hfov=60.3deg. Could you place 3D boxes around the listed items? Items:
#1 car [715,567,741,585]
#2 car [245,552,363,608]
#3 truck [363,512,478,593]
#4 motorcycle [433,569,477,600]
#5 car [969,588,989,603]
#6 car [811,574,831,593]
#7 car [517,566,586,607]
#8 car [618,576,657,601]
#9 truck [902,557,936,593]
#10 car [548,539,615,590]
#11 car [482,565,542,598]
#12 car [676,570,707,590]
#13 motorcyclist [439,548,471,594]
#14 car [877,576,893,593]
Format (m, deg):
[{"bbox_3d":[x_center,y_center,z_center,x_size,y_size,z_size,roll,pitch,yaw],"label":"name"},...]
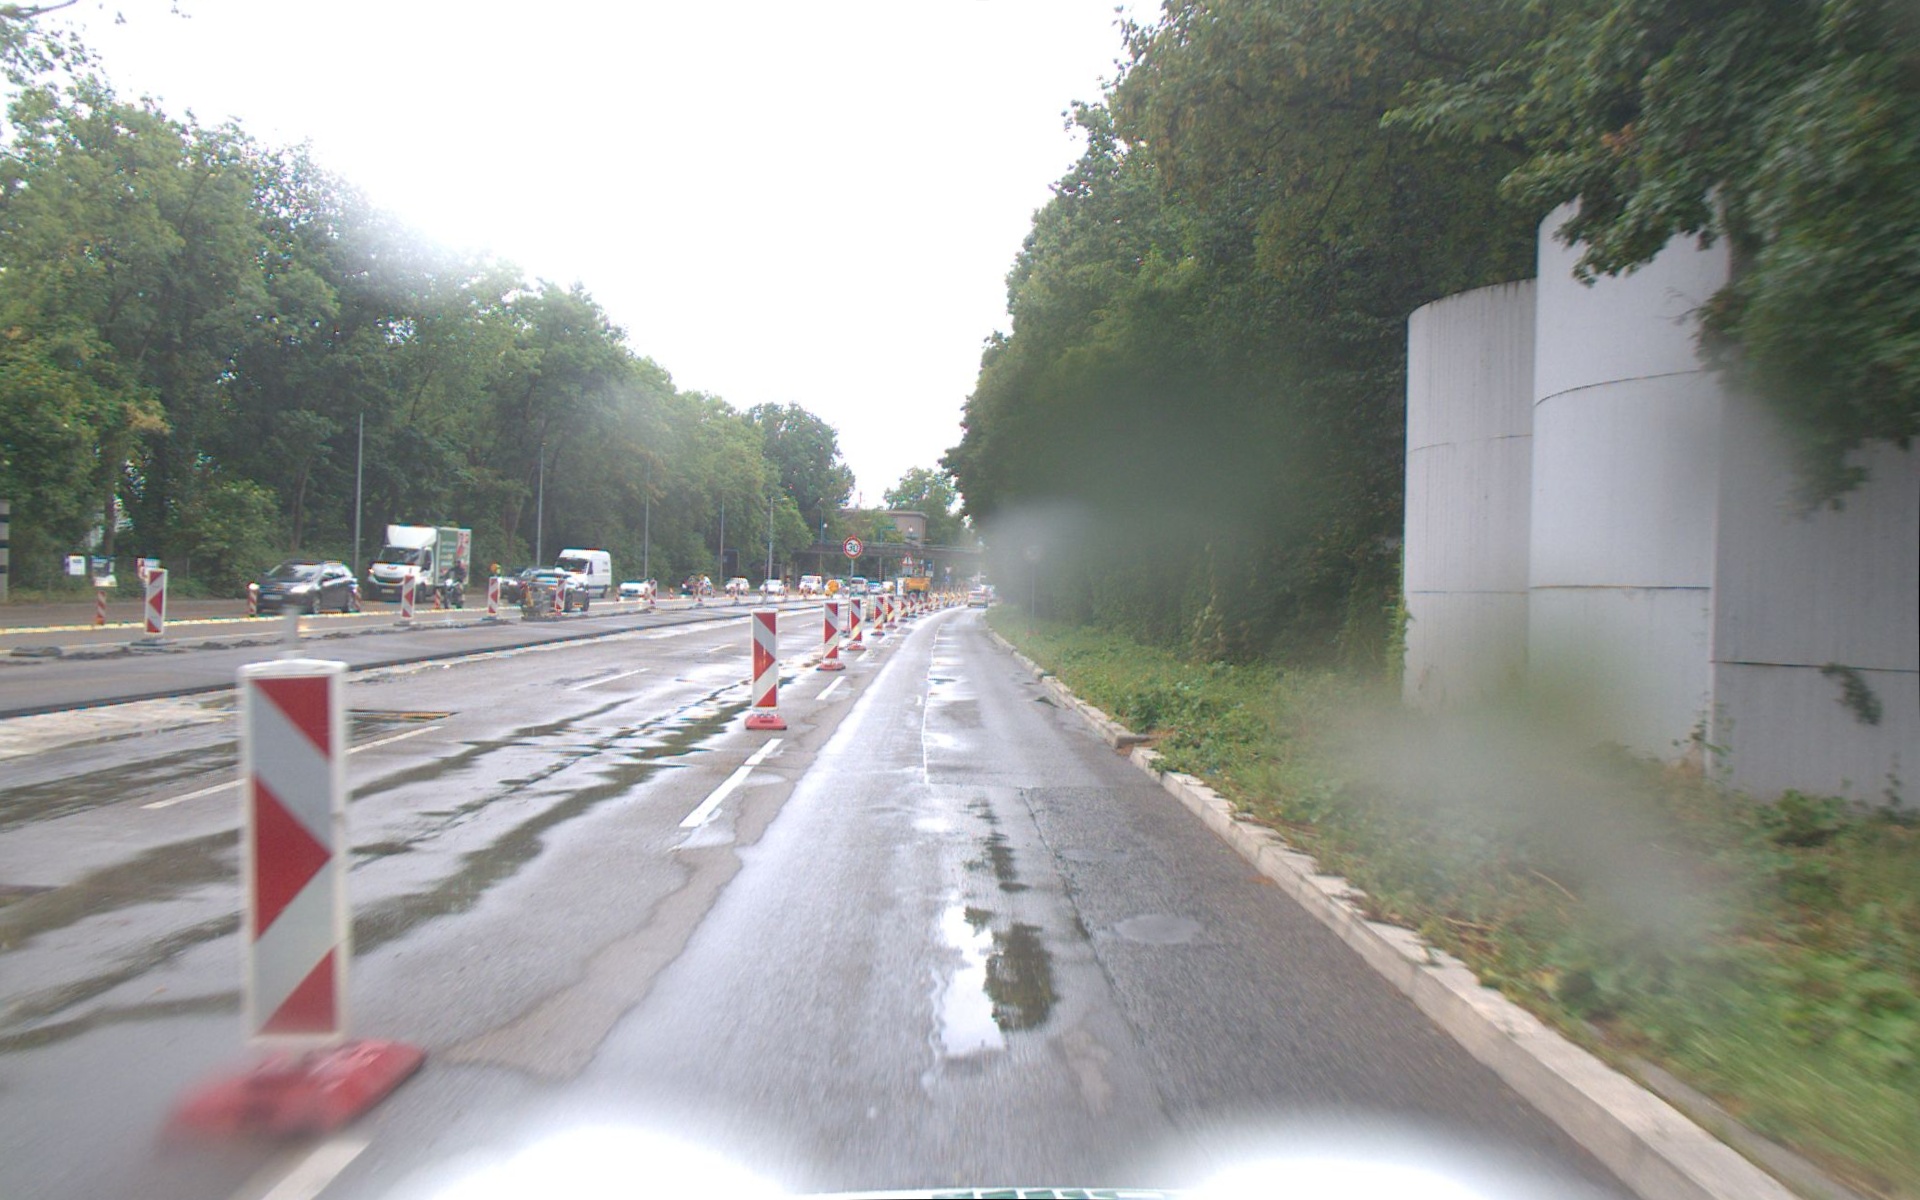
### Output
[{"bbox_3d":[-20.339,-2.076,145.070,1.635,1.511,4.050,2,1,0],"label":"car"},{"bbox_3d":[-18.213,-0.557,46.086,1.636,1.440,4.319,2,1,-2],"label":"car"},{"bbox_3d":[-21.321,-1.836,65.760,2.200,2.991,6.936,2,1,0],"label":"truck"},{"bbox_3d":[-18.053,-0.567,59.179,0.811,1.032,2.366,2,1,-1],"label":"motorcycle"},{"bbox_3d":[1.702,-0.412,149.612,1.663,1.359,3.491,-1,1,0],"label":"car"},{"bbox_3d":[-13.993,-1.632,166.591,1.635,1.840,4.320,2,1,0],"label":"car"},{"bbox_3d":[-15.437,-0.527,62.666,1.574,1.429,4.041,2,1,0],"label":"car"},{"bbox_3d":[-20.759,-0.745,106.565,1.635,1.511,4.320,2,1,0],"label":"car"},{"bbox_3d":[-4.149,-2.601,170.950,3.193,3.558,13.869,2,1,-1],"label":"truck"},{"bbox_3d":[-20.769,-1.933,91.065,2.056,2.624,6.854,2,1,0],"label":"car"},{"bbox_3d":[-21.461,-0.885,79.426,1.635,1.511,4.320,2,1,0],"label":"car"},{"bbox_3d":[-20.869,-1.577,128.725,1.635,1.511,4.320,2,1,0],"label":"car"},{"bbox_3d":[-18.033,-1.020,59.071,0.811,1.592,0.926,2,1,-1],"label":"motorcyclist"},{"bbox_3d":[-8.776,-1.799,193.032,1.635,1.840,4.321,2,2,0],"label":"car"}]
